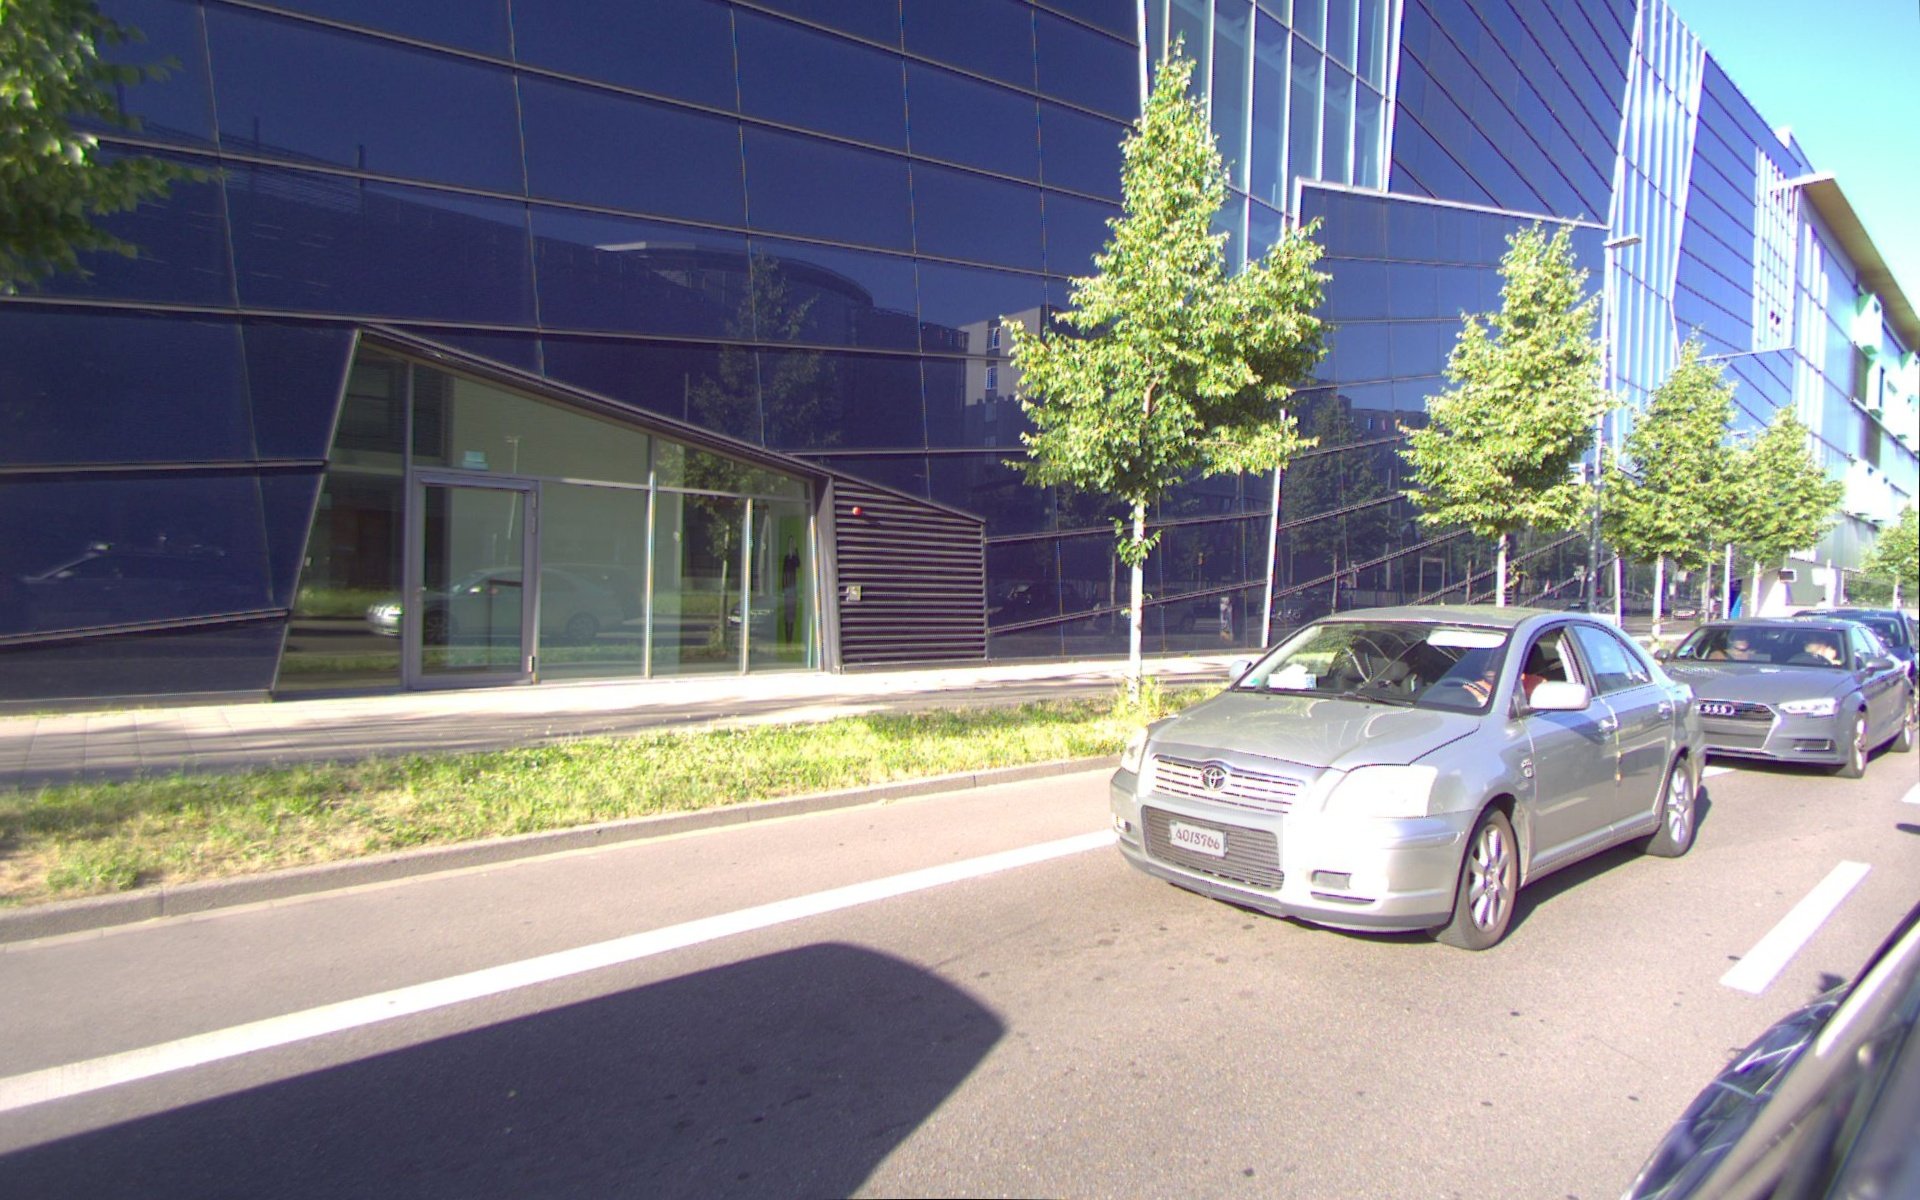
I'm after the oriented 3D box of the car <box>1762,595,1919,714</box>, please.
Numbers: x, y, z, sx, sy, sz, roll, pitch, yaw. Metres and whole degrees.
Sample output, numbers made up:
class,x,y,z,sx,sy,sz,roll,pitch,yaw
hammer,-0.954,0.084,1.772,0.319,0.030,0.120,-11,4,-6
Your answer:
class,x,y,z,sx,sy,sz,roll,pitch,yaw
car,13.221,0.706,14.736,3.902,1.497,1.752,1,0,-41

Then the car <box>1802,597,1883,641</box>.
class,x,y,z,sx,sy,sz,roll,pitch,yaw
car,34.702,0.710,39.760,4.633,1.516,1.739,1,3,-41

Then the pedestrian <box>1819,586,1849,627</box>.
class,x,y,z,sx,sy,sz,roll,pitch,yaw
pedestrian,41.683,0.316,48.270,0.889,1.846,0.829,1,4,-41

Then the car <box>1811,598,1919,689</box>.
class,x,y,z,sx,sy,sz,roll,pitch,yaw
car,16.955,0.734,18.432,3.358,1.497,1.752,1,0,-41

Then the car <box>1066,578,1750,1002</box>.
class,x,y,z,sx,sy,sz,roll,pitch,yaw
car,2.821,0.661,5.772,4.546,1.500,1.749,0,2,-40

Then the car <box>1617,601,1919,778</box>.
class,x,y,z,sx,sy,sz,roll,pitch,yaw
car,8.453,0.737,10.321,4.187,1.409,1.750,0,1,-39
